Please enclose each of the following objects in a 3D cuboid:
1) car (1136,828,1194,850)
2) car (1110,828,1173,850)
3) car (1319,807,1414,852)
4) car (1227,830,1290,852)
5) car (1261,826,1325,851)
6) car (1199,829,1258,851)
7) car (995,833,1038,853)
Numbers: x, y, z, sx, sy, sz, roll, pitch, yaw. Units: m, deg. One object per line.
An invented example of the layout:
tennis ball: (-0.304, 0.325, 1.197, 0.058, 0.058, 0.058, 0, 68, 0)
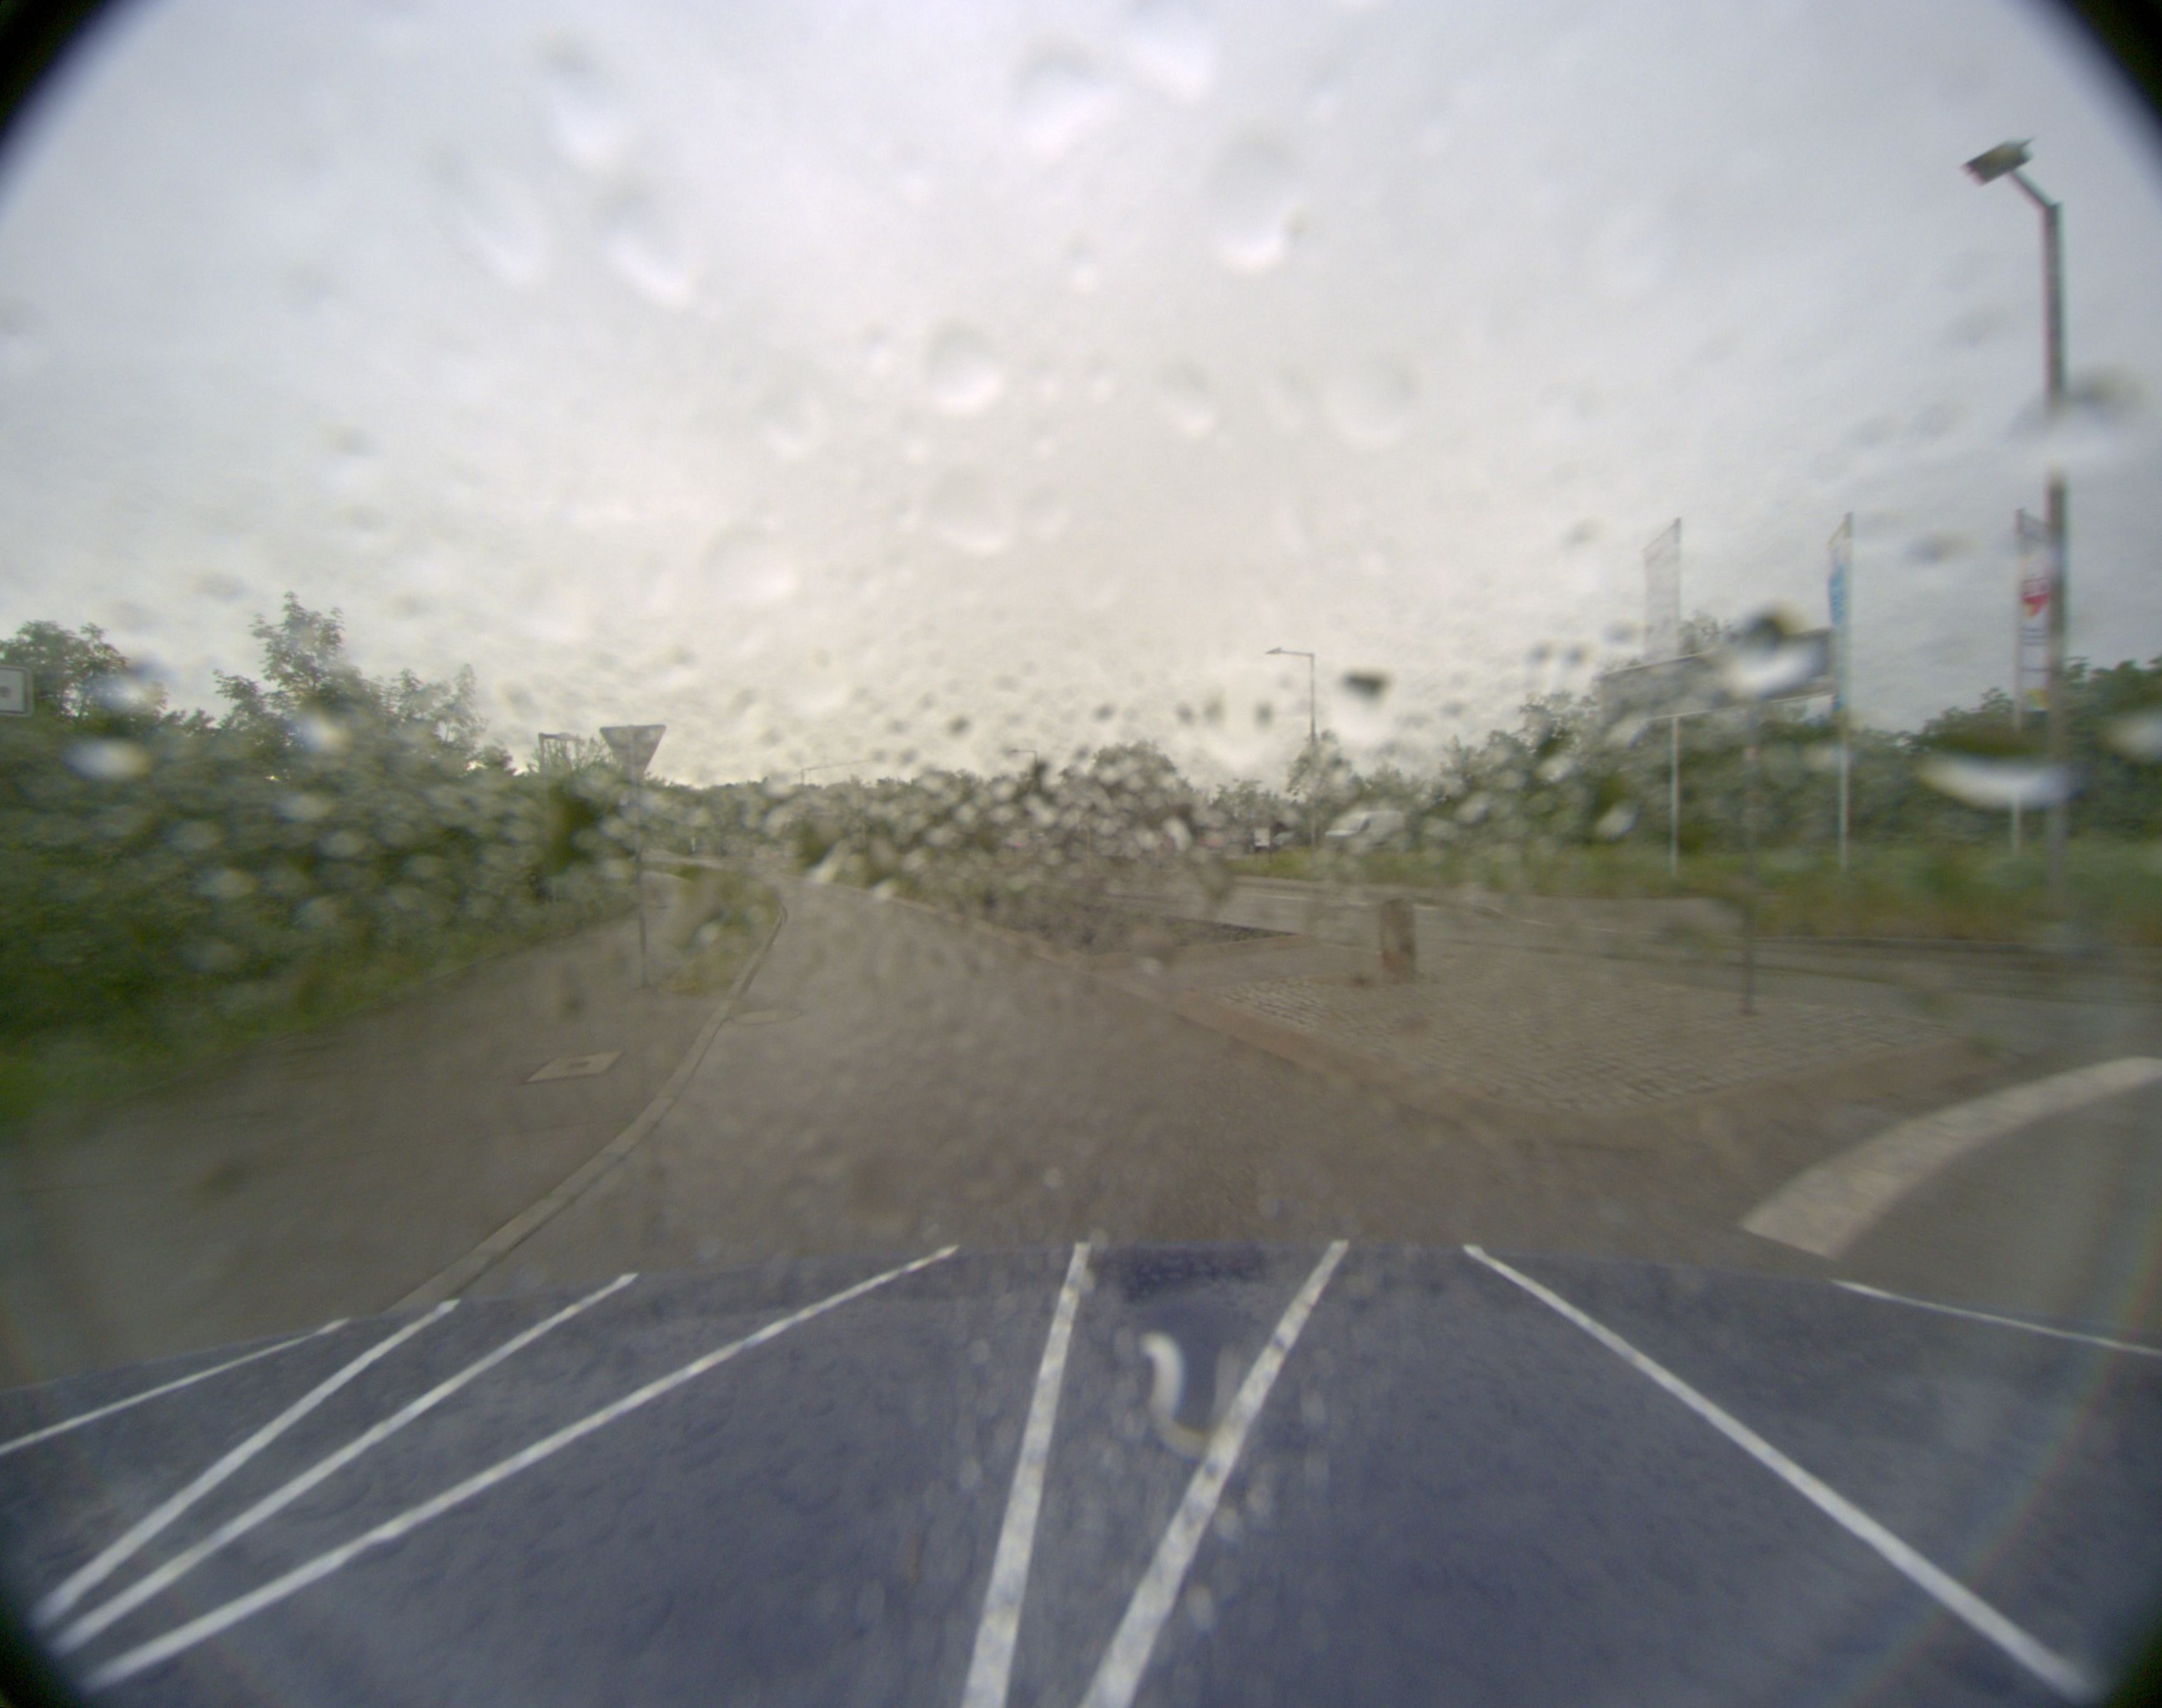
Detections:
car: (6.420, -1.147, 57.794, 4.005, 1.356, 1.895, -5, 3, -32)
car: (4.756, -1.187, 59.569, 4.729, 1.683, 1.999, -2, 2, -34)
car: (17.046, -1.509, 45.184, 6.588, 2.385, 2.132, -4, 4, -38)
car: (11.846, -0.874, 50.690, 4.006, 1.356, 1.843, -2, 2, -32)
car: (13.604, -1.003, 48.655, 4.006, 1.356, 1.648, -4, 3, -32)
car: (10.469, -1.014, 53.840, 4.006, 1.461, 1.843, -2, 2, -34)
car: (-5.753, -0.987, 67.392, 1.699, 1.560, 4.530, -6, 3, -35)
